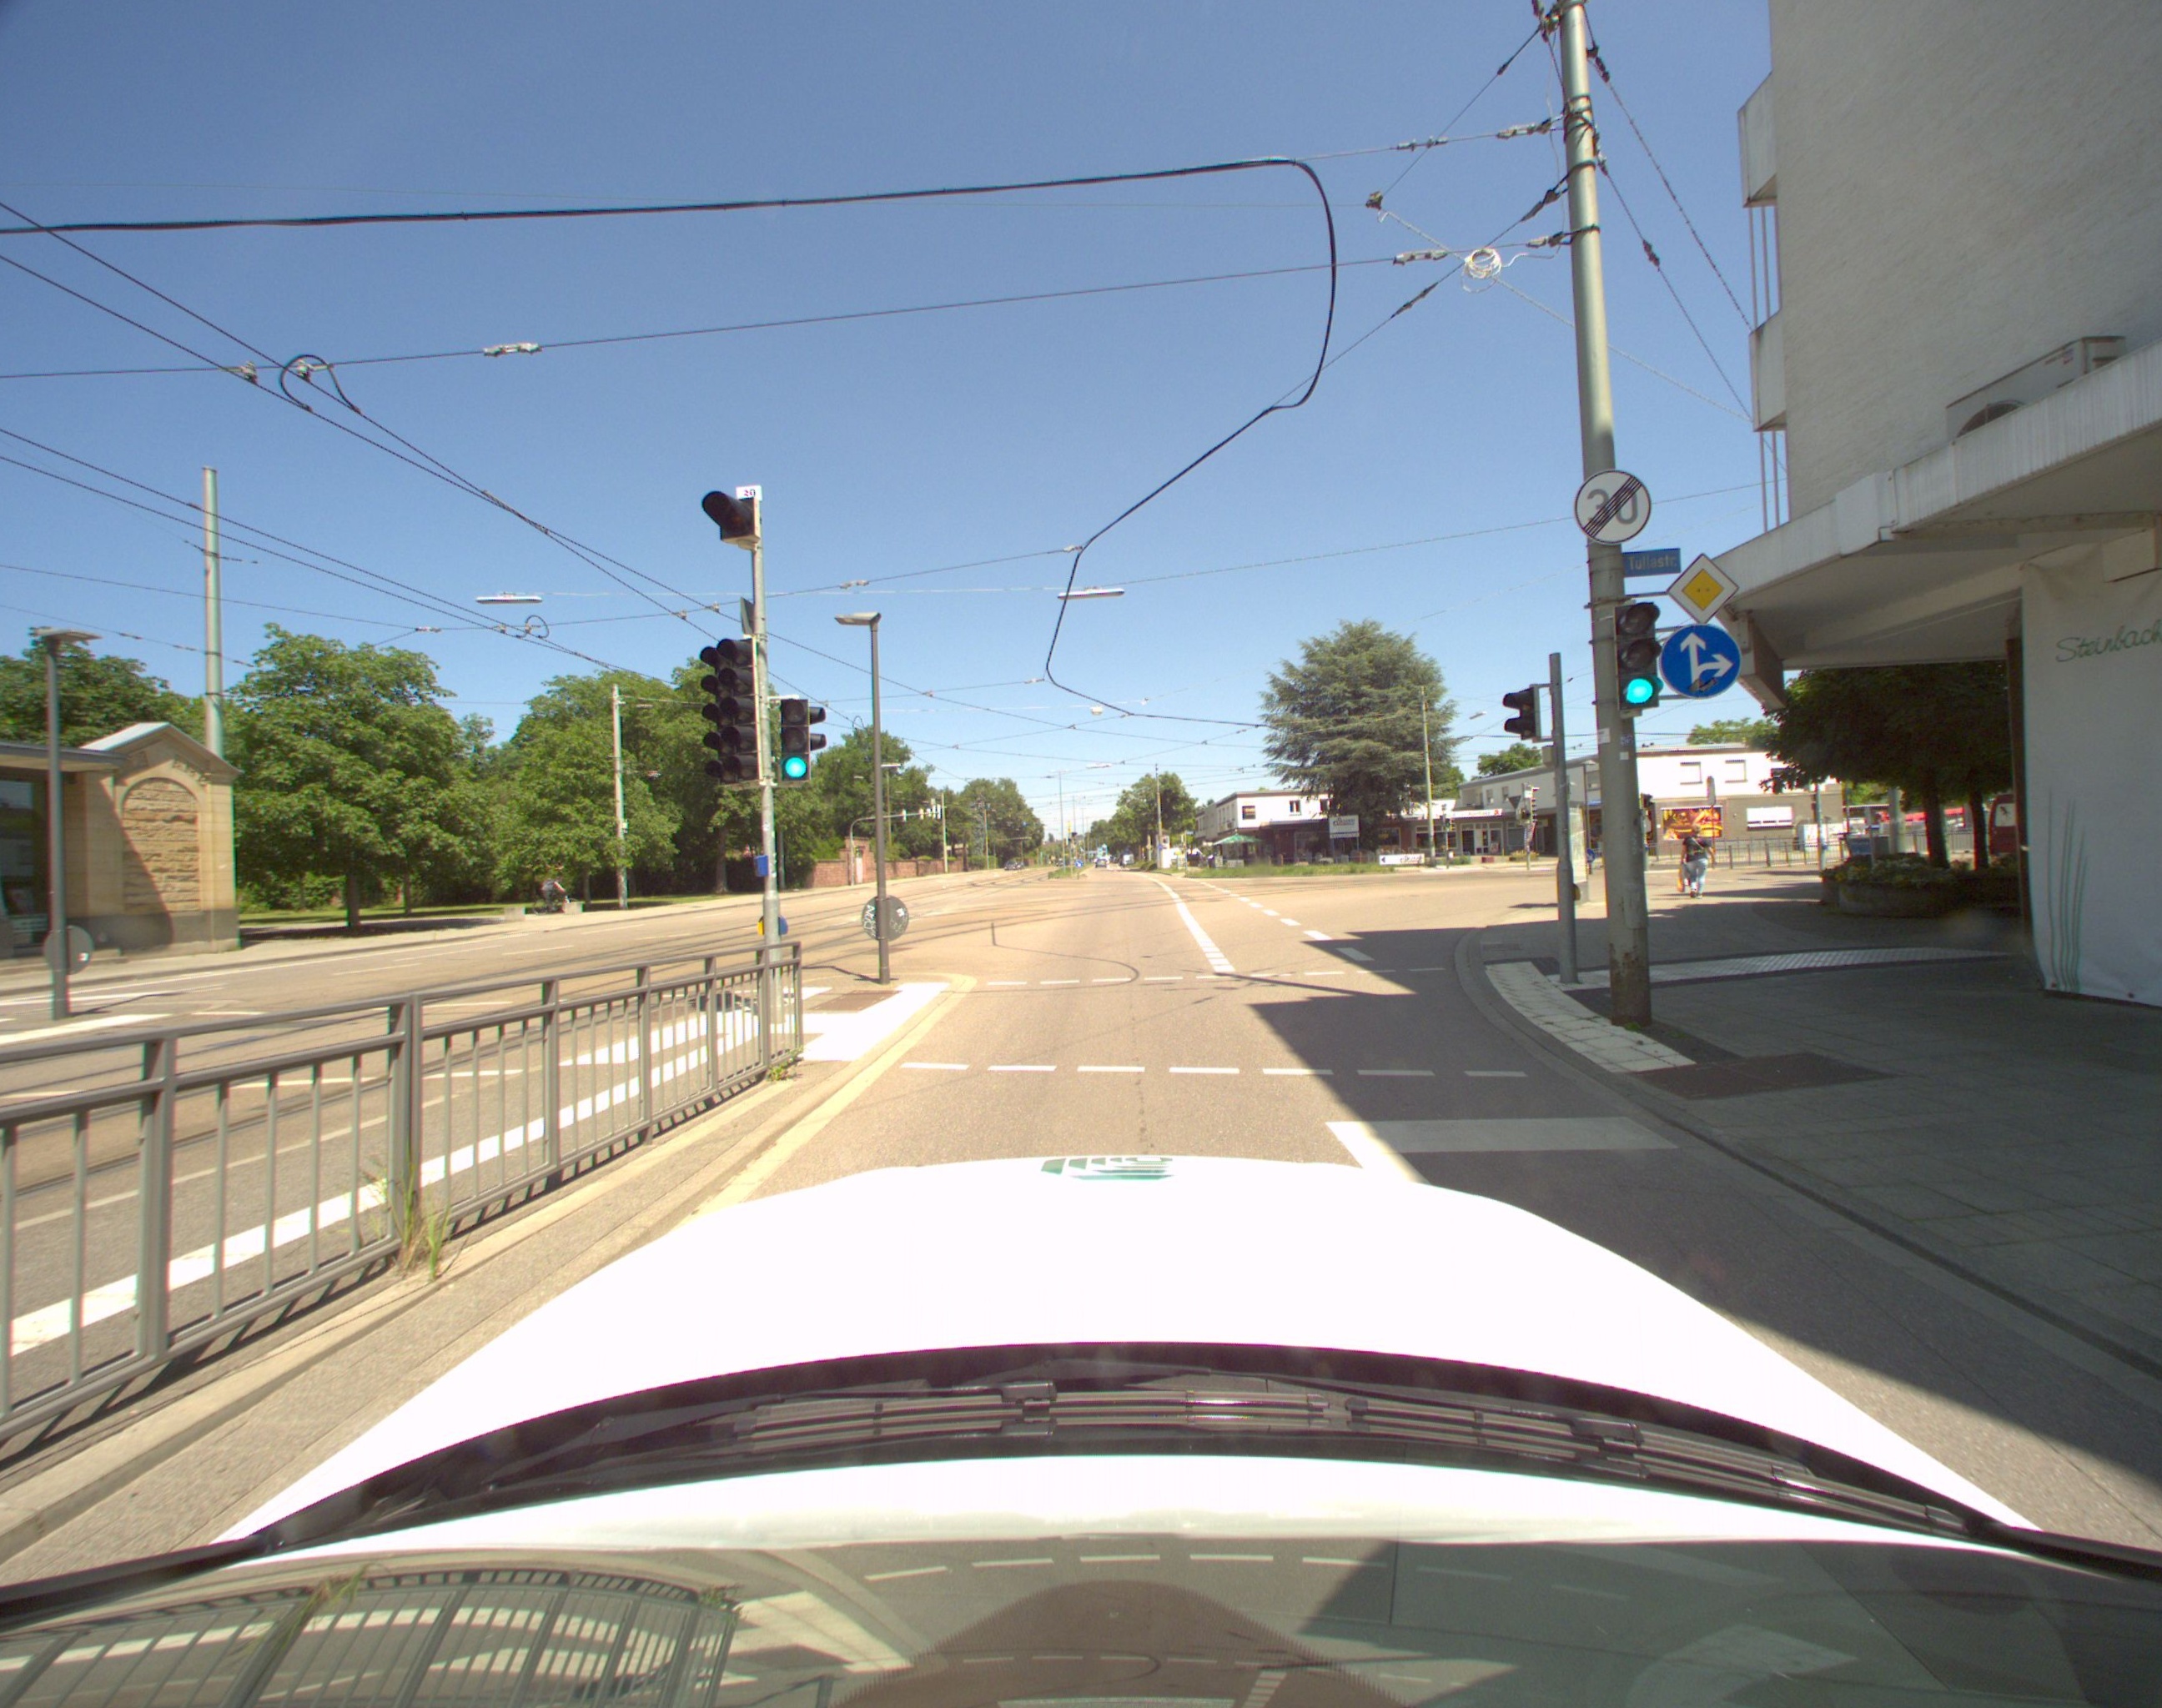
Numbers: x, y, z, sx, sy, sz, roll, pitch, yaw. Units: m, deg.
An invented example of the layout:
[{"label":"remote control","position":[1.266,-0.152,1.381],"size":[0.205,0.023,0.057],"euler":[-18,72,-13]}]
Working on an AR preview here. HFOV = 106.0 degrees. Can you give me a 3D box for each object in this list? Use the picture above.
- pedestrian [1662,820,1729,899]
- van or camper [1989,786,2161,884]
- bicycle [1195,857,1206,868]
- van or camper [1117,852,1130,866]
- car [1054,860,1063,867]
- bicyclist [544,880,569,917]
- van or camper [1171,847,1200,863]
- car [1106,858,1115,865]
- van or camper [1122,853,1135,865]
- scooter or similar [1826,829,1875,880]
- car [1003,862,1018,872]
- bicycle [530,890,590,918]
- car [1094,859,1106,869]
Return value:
[{"label":"pedestrian","position":[13.146,0.105,17.445],"size":[0.819,1.583,0.830],"euler":[-6,-1,21]},{"label":"van or camper","position":[31.543,-0.609,24.801],"size":[5.206,2.765,2.208],"euler":[-2,0,0]},{"label":"bicycle","position":[12.179,0.861,82.980],"size":[1.027,1.014,2.644],"euler":[-2,0,9]},{"label":"van or camper","position":[7.882,0.977,151.186],"size":[1.987,2.464,3.998],"euler":[-2,-1,-1]},{"label":"car","position":[-4.997,2.139,182.274],"size":[1.635,1.399,4.117],"euler":[-2,0,1]},{"label":"bicyclist","position":[-22.232,1.879,34.528],"size":[0.848,1.531,0.844],"euler":[-2,-1,-33]},{"label":"van or camper","position":[18.137,0.180,141.420],"size":[4.741,2.671,2.135],"euler":[-2,-1,0]},{"label":"car","position":[6.353,1.665,175.382],"size":[1.667,1.435,3.470],"euler":[-2,0,-3]},{"label":"van or camper","position":[7.475,0.795,128.782],"size":[1.914,1.772,4.002],"euler":[-2,0,2]},{"label":"scooter or similar","position":[19.020,0.012,20.127],"size":[1.258,1.213,0.391],"euler":[-2,-1,-25]},{"label":"car","position":[-11.840,2.174,137.025],"size":[1.812,1.603,4.523],"euler":[-2,-1,3]},{"label":"bicycle","position":[-22.119,2.128,34.613],"size":[2.112,1.041,0.709],"euler":[-2,-1,-34]},{"label":"car","position":[3.074,1.545,130.571],"size":[1.632,1.351,3.840],"euler":[-6,0,-1]}]
